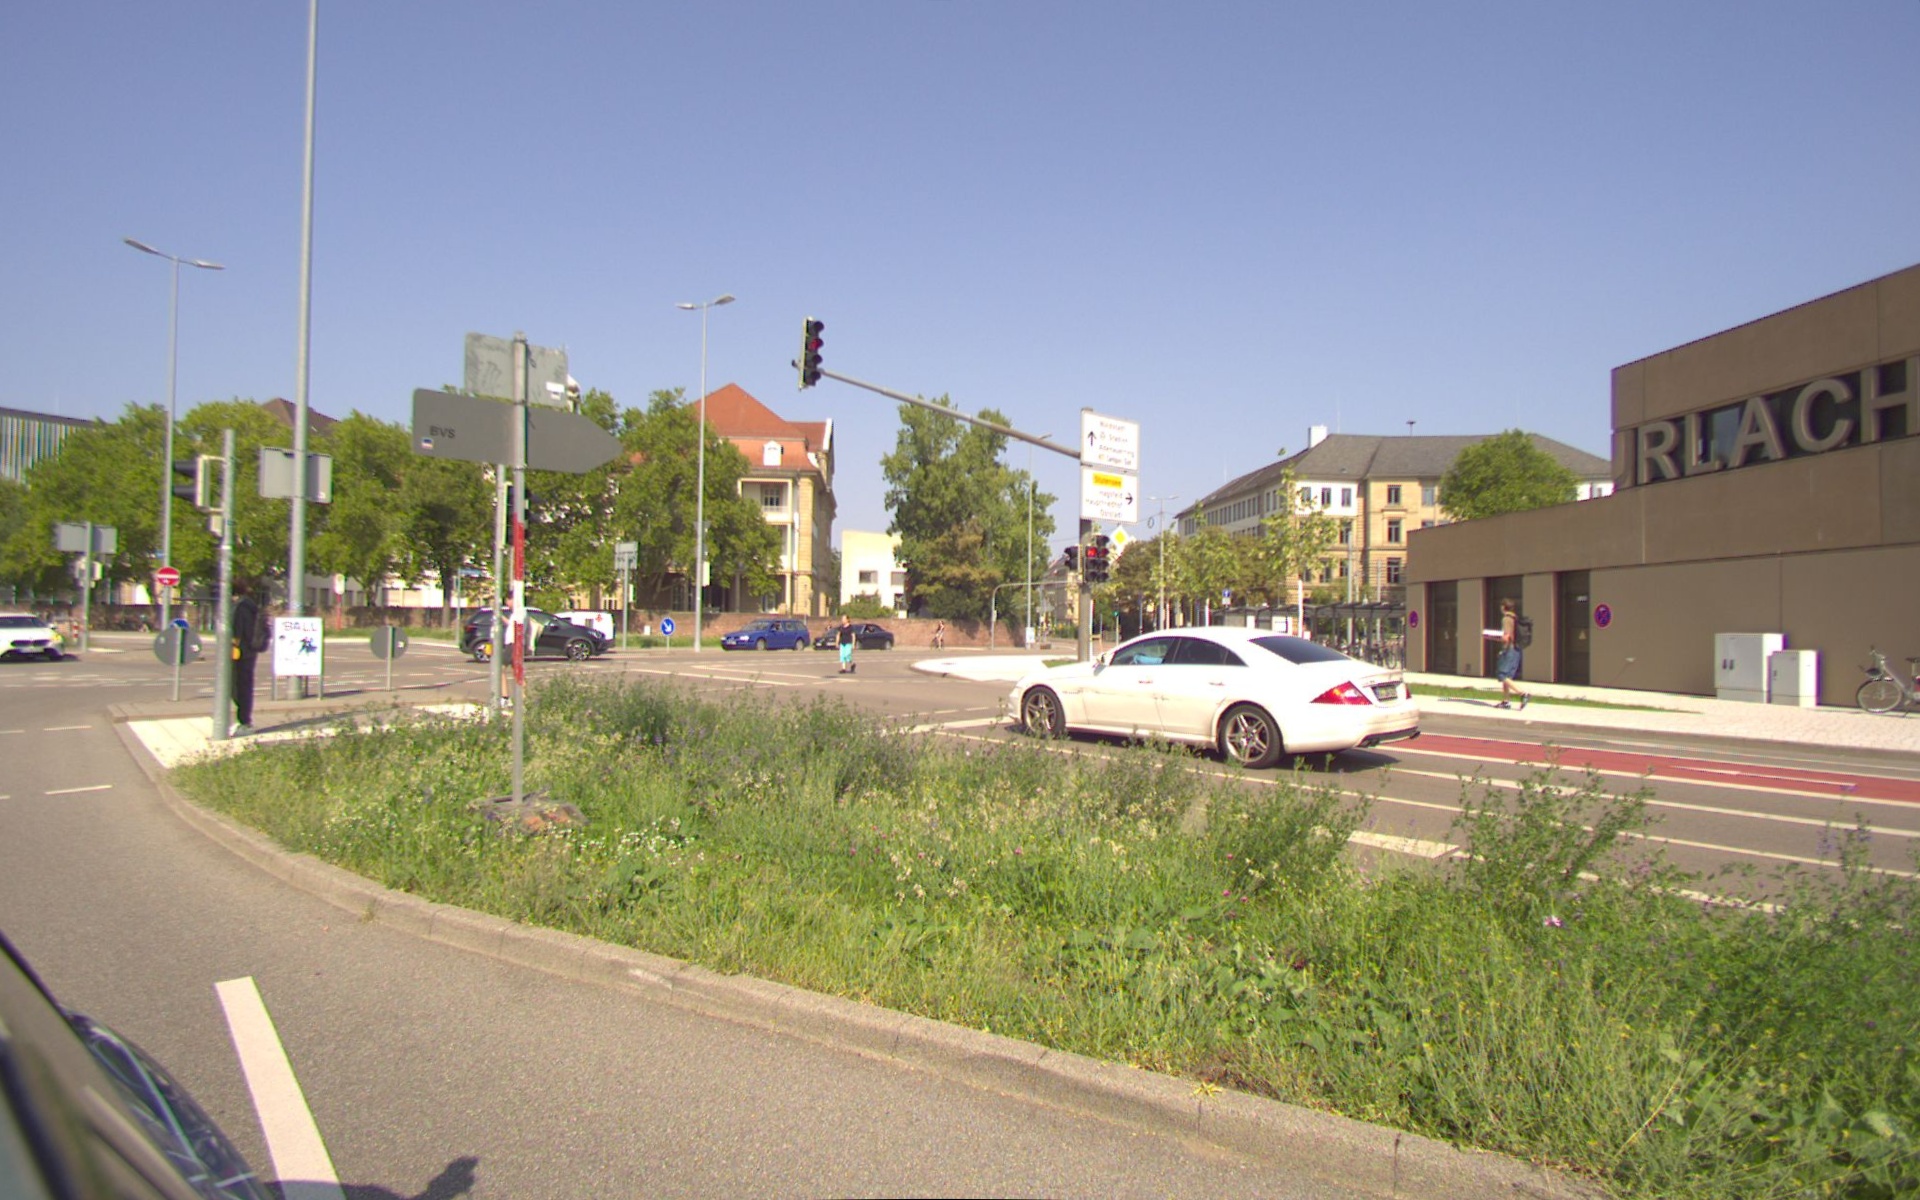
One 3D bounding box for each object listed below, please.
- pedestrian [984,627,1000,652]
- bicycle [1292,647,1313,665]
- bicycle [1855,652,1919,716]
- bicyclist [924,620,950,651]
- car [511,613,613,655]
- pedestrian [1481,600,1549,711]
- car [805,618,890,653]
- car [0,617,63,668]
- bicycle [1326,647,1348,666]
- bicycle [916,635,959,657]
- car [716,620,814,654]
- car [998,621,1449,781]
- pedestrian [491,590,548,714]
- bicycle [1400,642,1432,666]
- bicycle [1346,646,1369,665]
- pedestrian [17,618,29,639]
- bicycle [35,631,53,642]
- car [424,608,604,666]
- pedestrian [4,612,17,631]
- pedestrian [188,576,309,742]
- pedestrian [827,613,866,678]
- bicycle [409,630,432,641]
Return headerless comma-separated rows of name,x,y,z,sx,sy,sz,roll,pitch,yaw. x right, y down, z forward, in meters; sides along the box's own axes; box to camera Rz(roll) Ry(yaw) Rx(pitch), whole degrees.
pedestrian,2.590,3.185,81.420,0.822,2.029,0.894,-5,-5,45
bicycle,17.260,2.807,51.060,0.404,0.899,1.589,1,-2,-4
bicycle,15.401,1.338,16.150,0.651,0.963,1.614,-1,-2,-6
bicyclist,-1.314,2.084,58.587,0.885,1.759,1.353,-4,-4,34
car,-17.193,1.461,43.725,3.931,1.691,1.762,0,-4,-28
pedestrian,9.090,0.893,16.613,0.872,1.773,0.674,-1,0,21
car,-5.220,1.673,47.397,1.993,1.564,3.958,0,-2,30
car,-28.572,1.224,30.317,3.856,1.447,1.695,0,-2,35
bicycle,18.233,2.728,48.991,0.404,0.899,1.589,1,-2,-4
bicycle,-1.271,2.654,58.596,0.885,1.214,3.042,-4,-4,34
car,-8.013,1.532,41.972,1.601,1.339,4.289,0,-2,29
car,2.759,0.966,11.603,1.819,1.372,4.825,0,0,-42
pedestrian,-6.736,0.786,15.471,0.683,1.847,0.572,2,-2,-30
bicycle,20.253,2.384,44.944,0.455,1.017,1.876,1,-2,-4
bicycle,19.542,2.709,49.741,0.404,0.899,1.589,1,-2,-4
pedestrian,-77.089,2.363,83.261,0.588,1.664,0.481,-2,-4,13
bicycle,-78.527,3.130,86.762,1.537,0.842,0.431,0,-2,19
car,-12.890,1.051,29.441,4.632,1.590,1.860,0,-2,-24
pedestrian,-79.050,1.758,84.250,0.497,1.583,0.533,0,-2,11
pedestrian,-8.392,0.682,11.947,1.066,1.854,0.731,2,-2,-40
pedestrian,-2.871,1.148,25.647,0.746,1.577,0.664,2,-2,13
bicycle,-41.232,2.737,77.339,1.531,0.842,0.433,1,-2,6
